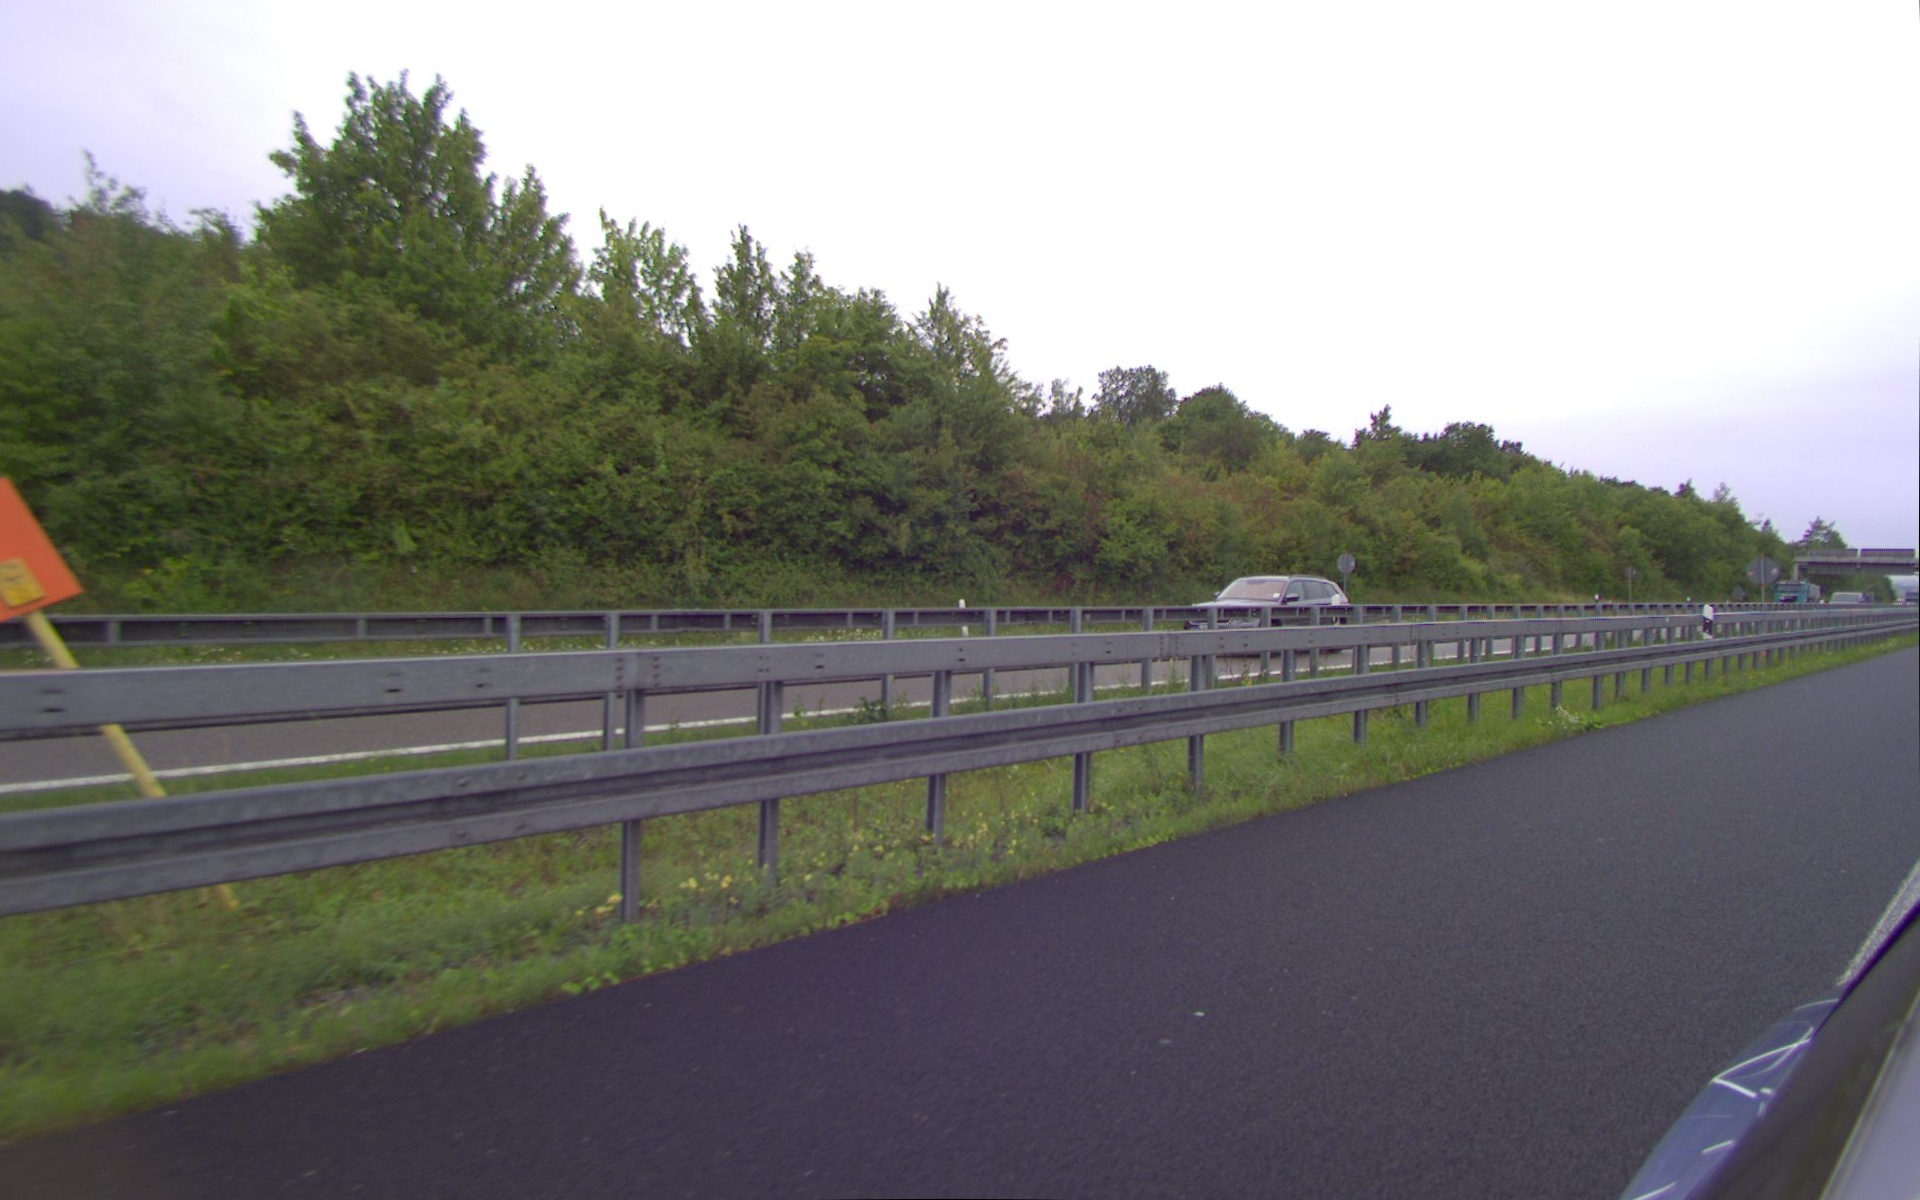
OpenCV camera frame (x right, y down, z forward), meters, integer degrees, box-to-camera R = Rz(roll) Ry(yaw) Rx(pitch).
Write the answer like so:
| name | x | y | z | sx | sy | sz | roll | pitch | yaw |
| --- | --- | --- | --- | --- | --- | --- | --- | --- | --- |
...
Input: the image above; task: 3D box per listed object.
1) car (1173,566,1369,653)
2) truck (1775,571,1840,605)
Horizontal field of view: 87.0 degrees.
| name | x | y | z | sx | sy | sz | roll | pitch | yaw |
| --- | --- | --- | --- | --- | --- | --- | --- | --- | --- |
| car | 6.704 | 0.157 | 21.600 | 4.395 | 1.676 | 2.011 | 0 | 1 | -42 |
| truck | 91.404 | -1.299 | 109.026 | 13.114 | 3.460 | 2.908 | 0 | 1 | -39 |
